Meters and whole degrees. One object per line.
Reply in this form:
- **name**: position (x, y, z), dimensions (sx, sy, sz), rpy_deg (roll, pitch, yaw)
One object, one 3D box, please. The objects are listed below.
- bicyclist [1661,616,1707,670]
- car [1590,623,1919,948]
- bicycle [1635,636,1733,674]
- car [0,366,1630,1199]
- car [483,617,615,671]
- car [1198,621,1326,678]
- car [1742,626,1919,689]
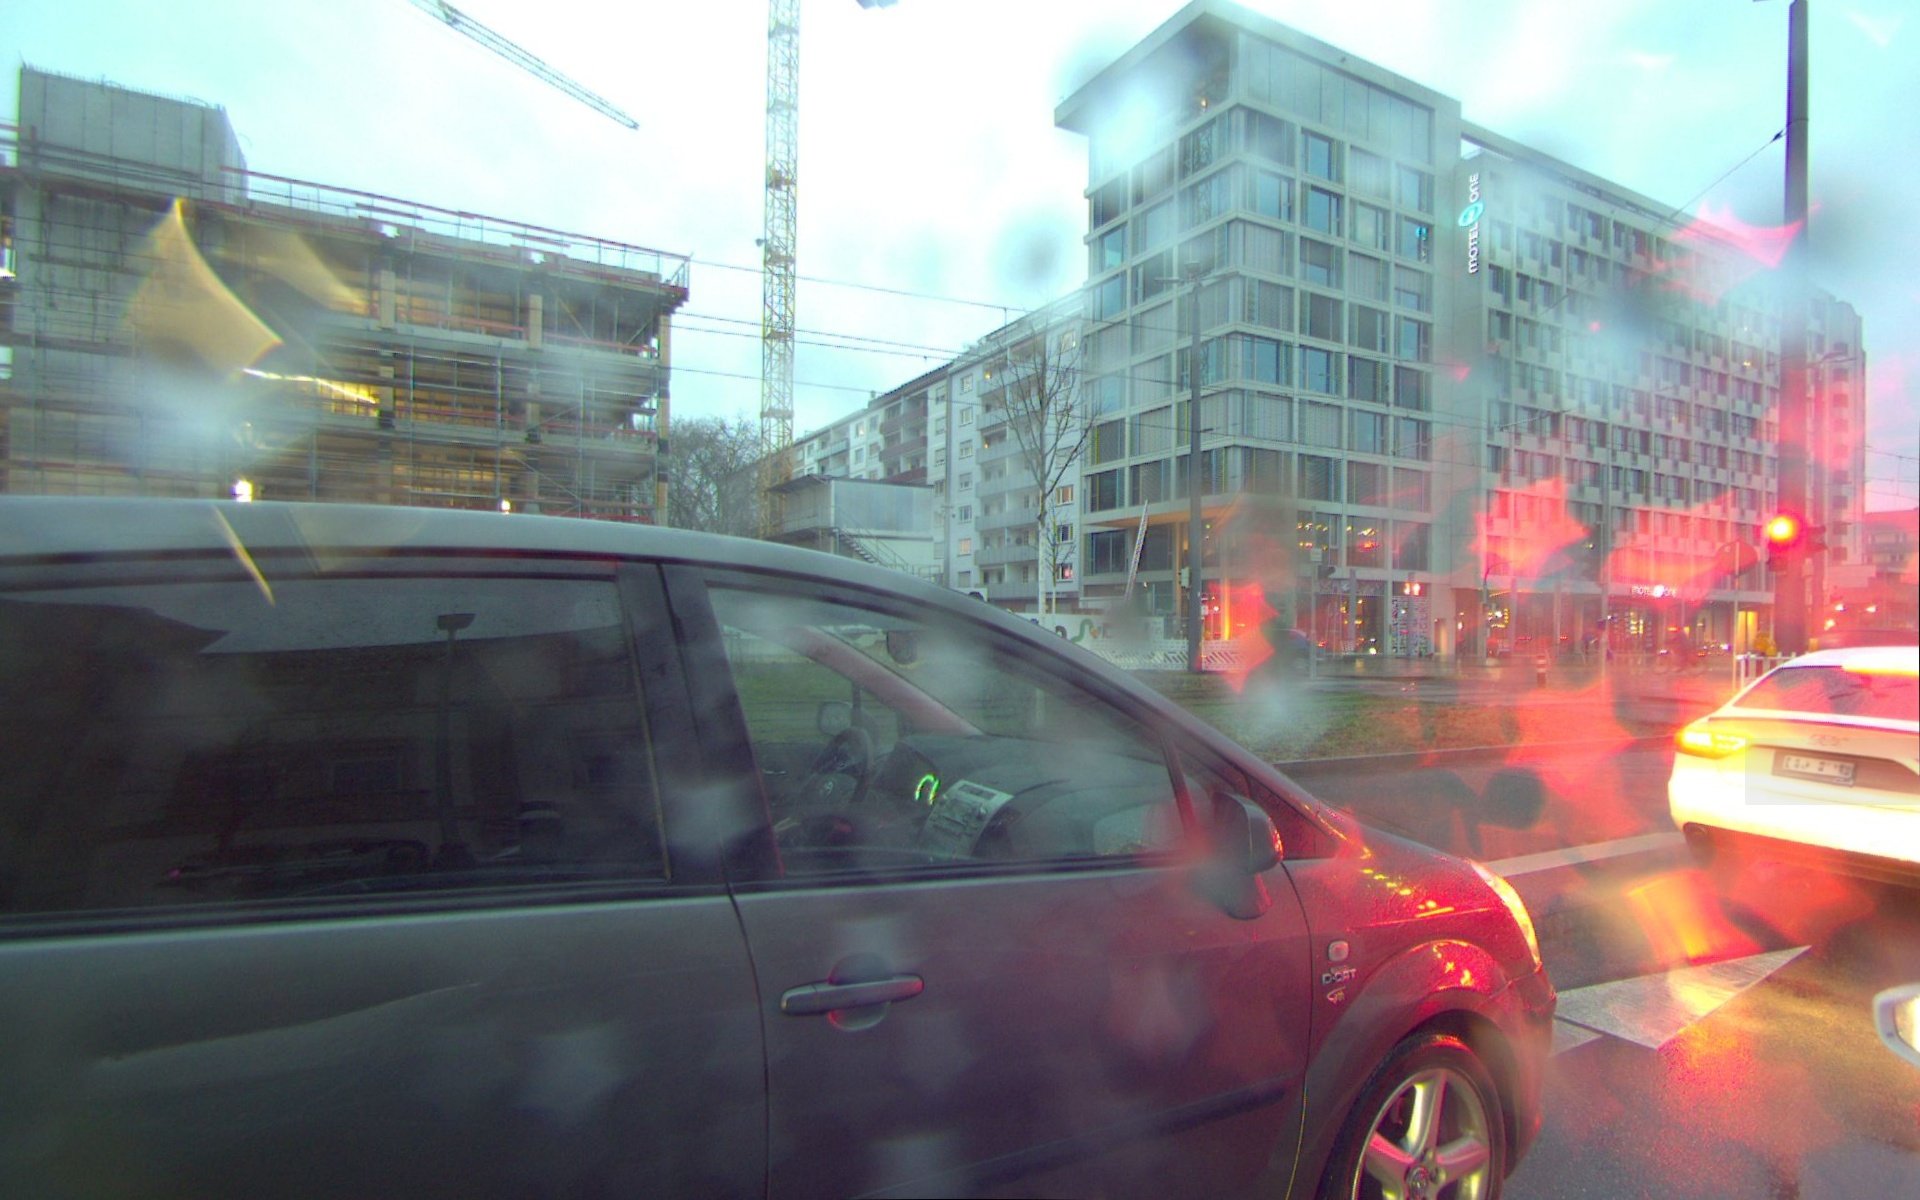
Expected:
- **bicyclist**: position (24.912, 1.472, 34.589), dimensions (0.802, 1.782, 0.969), rpy_deg (2, 0, -25)
- **car**: position (6.058, 0.922, 6.224), dimensions (4.320, 1.475, 1.983), rpy_deg (1, 0, -32)
- **bicycle**: position (24.890, 1.877, 34.597), dimensions (0.804, 1.103, 2.659), rpy_deg (2, 0, -24)
- **car**: position (-0.567, 0.645, 2.130), dimensions (4.089, 1.668, 1.801), rpy_deg (1, 0, -32)
- **car**: position (-12.619, 1.348, 30.997), dimensions (3.646, 1.497, 1.620), rpy_deg (2, 0, -22)
- **car**: position (9.994, 1.615, 33.443), dimensions (3.919, 1.644, 1.720), rpy_deg (2, 0, 14)
- **car**: position (23.369, 1.482, 26.426), dimensions (1.821, 1.460, 4.067), rpy_deg (3, -1, -34)
